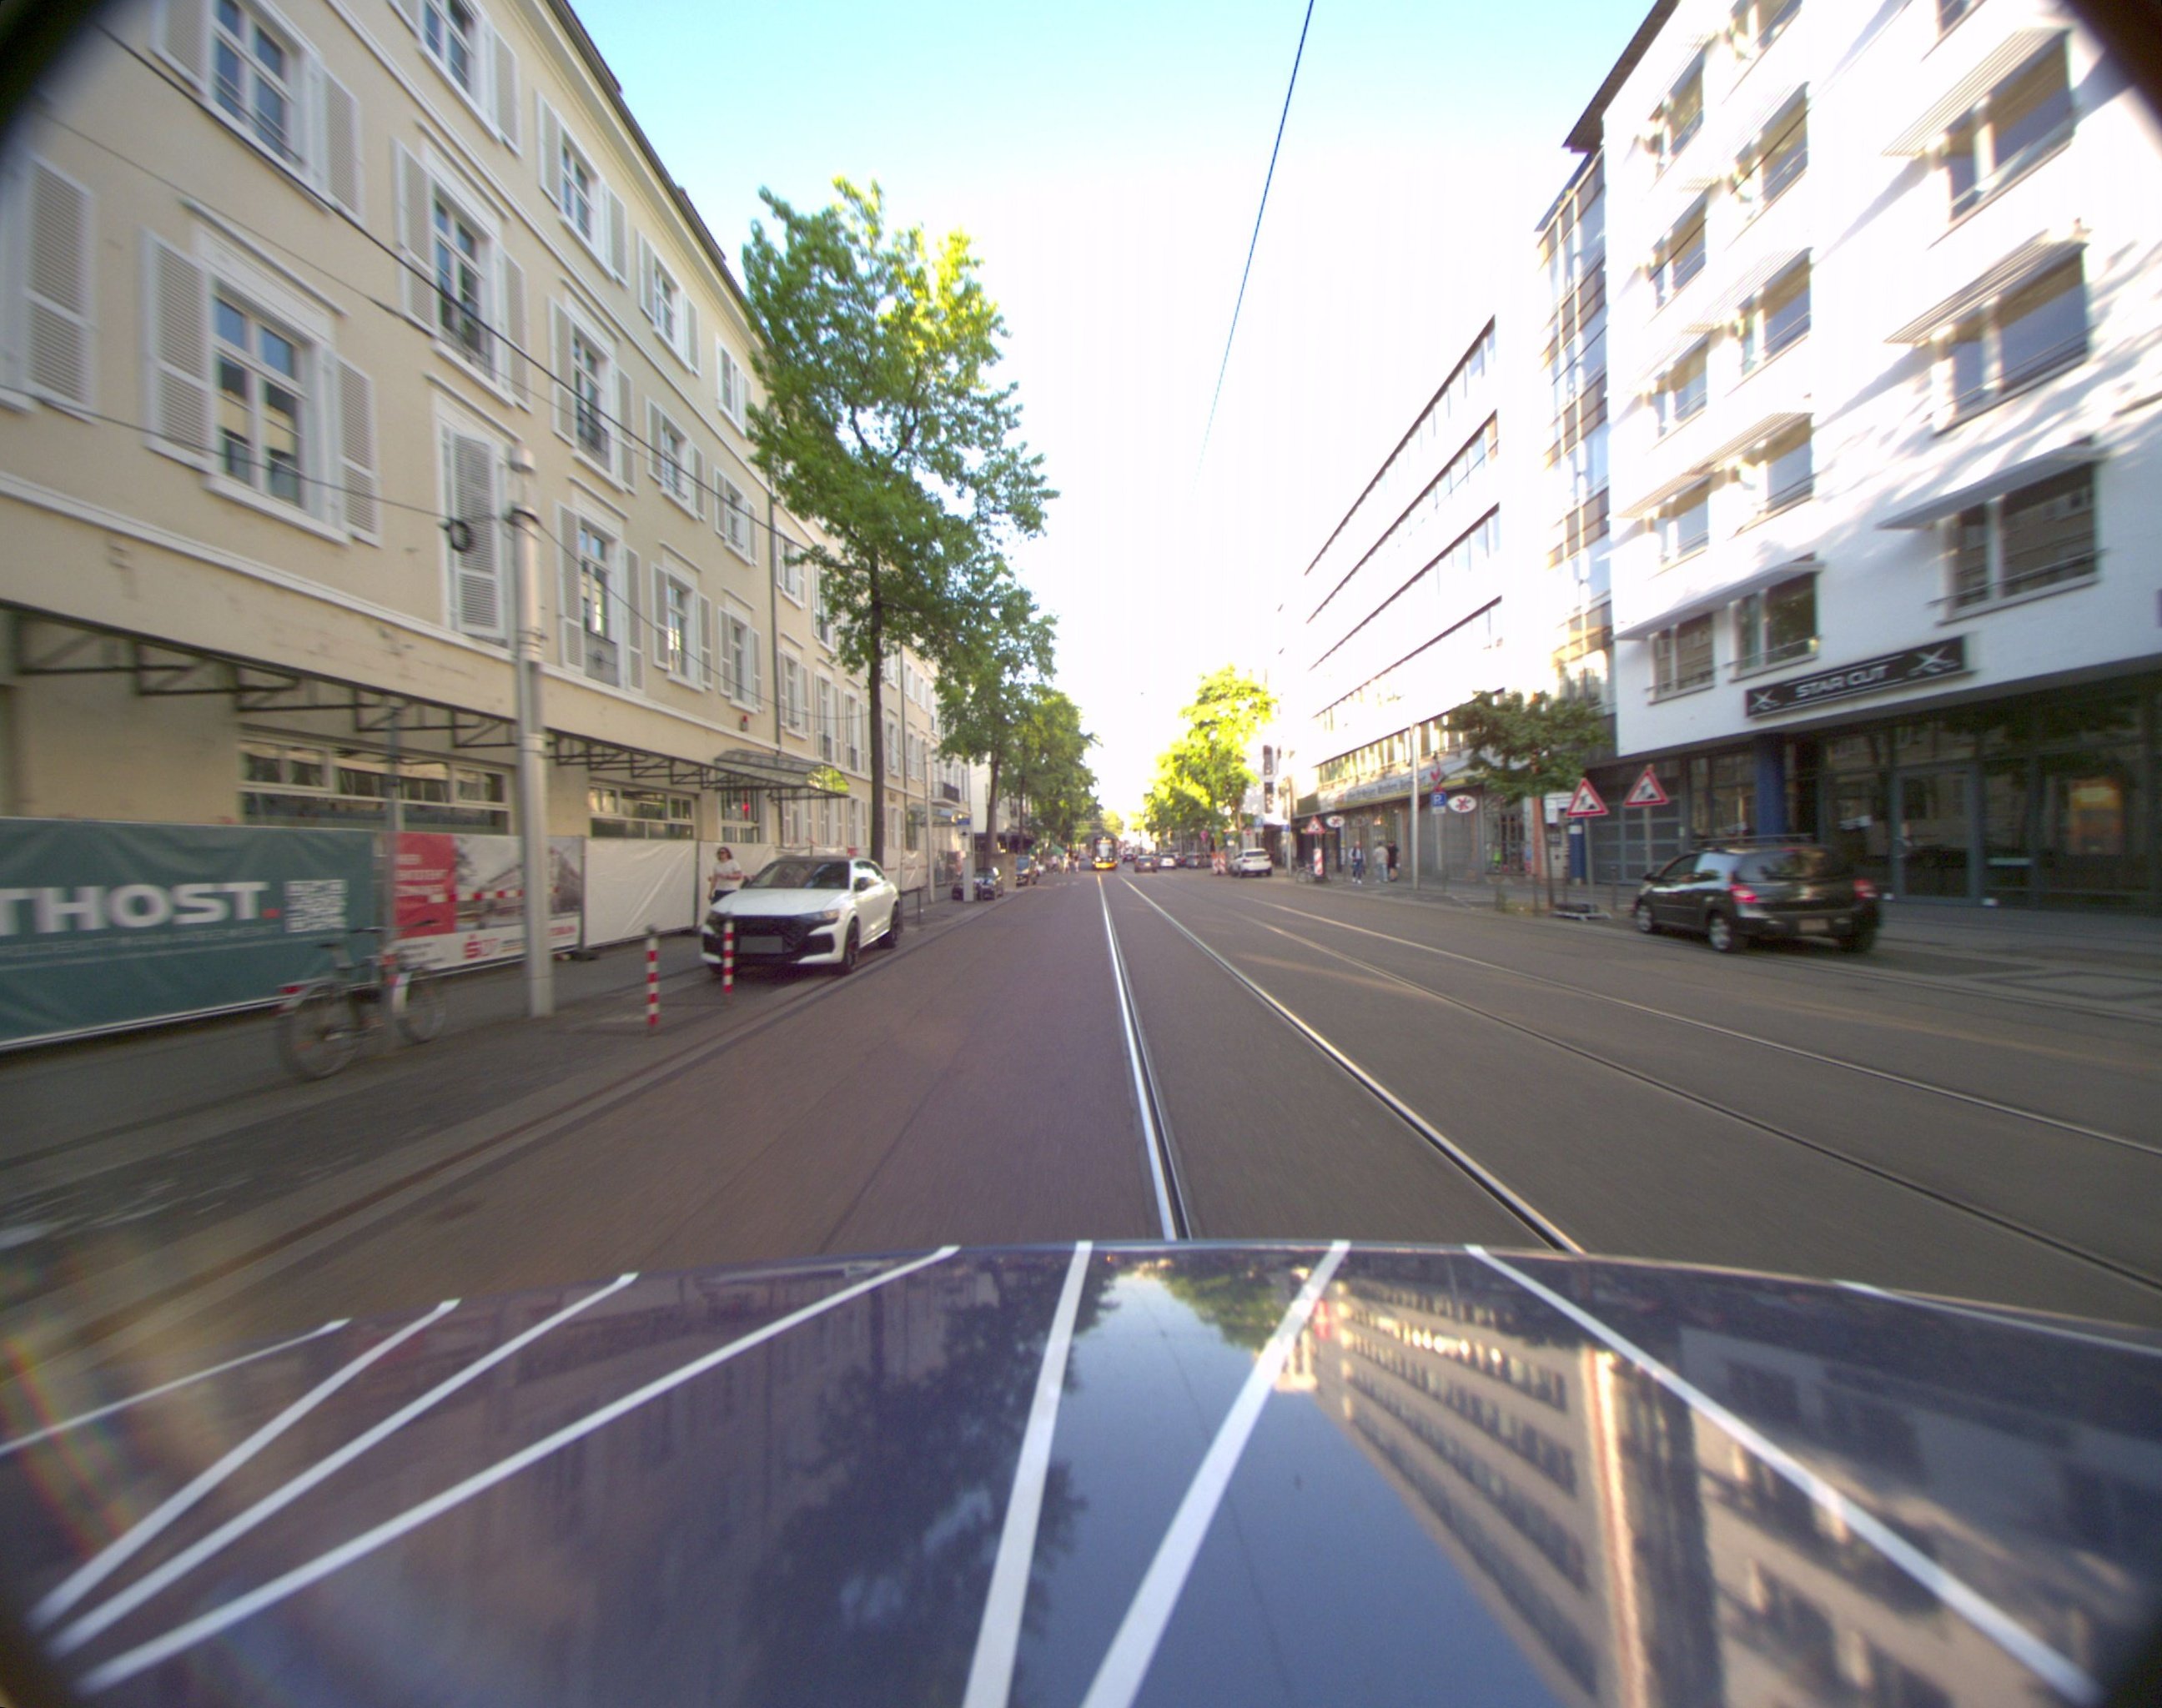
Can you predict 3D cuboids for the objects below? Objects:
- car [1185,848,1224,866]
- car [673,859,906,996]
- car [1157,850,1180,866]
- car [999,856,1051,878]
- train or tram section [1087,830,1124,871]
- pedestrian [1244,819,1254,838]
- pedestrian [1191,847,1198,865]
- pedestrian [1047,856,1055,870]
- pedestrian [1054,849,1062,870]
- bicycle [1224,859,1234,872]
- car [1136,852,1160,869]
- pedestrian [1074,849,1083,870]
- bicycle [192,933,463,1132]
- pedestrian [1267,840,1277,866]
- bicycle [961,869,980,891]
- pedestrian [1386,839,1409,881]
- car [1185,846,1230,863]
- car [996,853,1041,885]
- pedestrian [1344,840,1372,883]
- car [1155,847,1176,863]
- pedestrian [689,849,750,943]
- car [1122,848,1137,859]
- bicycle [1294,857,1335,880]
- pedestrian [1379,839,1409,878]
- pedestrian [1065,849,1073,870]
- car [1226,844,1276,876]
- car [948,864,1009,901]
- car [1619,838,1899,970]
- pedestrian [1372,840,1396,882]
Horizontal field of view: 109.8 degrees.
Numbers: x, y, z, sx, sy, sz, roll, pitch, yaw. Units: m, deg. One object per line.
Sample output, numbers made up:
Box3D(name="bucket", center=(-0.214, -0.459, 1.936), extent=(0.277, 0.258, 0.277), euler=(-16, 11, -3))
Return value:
Box3D(name="car", center=(12.290, 0.322, 75.572), extent=(3.404, 1.551, 1.786), euler=(-5, 2, -26))
Box3D(name="car", center=(-4.326, 0.969, 12.306), extent=(2.003, 1.678, 4.966), euler=(0, 1, -2))
Box3D(name="car", center=(8.721, 0.372, 76.187), extent=(1.889, 1.602, 4.200), euler=(0, 0, 1))
Box3D(name="car", center=(-4.587, 1.087, 62.515), extent=(3.937, 1.600, 1.867), euler=(-2, 2, 8))
Box3D(name="train or tram section", center=(2.585, -0.316, 82.778), extent=(3.607, 3.974, 15.716), euler=(-2, 0, 1))
Box3D(name="pedestrian", center=(14.508, -2.225, 65.701), extent=(0.725, 1.636, 0.612), euler=(-2, 1, 3))
Box3D(name="pedestrian", center=(12.062, 0.189, 80.601), extent=(0.656, 1.922, 0.723), euler=(-2, 0, 3))
Box3D(name="pedestrian", center=(-2.904, 0.889, 73.856), extent=(0.716, 1.321, 0.624), euler=(-2, 0, 2))
Box3D(name="pedestrian", center=(-2.141, 0.531, 71.292), extent=(0.598, 1.922, 0.873), euler=(-2, 0, 3))
Box3D(name="bicycle", center=(10.556, 0.797, 54.152), extent=(0.503, 0.832, 1.535), euler=(-4, 1, 7))
Box3D(name="car", center=(5.654, 0.525, 64.508), extent=(1.783, 1.399, 4.528), euler=(-2, 0, 1))
Box3D(name="pedestrian", center=(-0.217, 0.477, 71.278), extent=(0.772, 1.922, 0.873), euler=(-2, 0, 3))
Box3D(name="bicycle", center=(-5.829, 1.292, 6.061), extent=(0.419, 1.094, 1.986), euler=(0, 1, -9))
Box3D(name="pedestrian", center=(14.930, -0.085, 59.385), extent=(0.616, 2.002, 0.592), euler=(-2, 1, 0))
Box3D(name="bicycle", center=(-5.551, 1.299, 38.172), extent=(0.656, 1.064, 1.671), euler=(0, 0, -18))
Box3D(name="pedestrian", center=(13.329, 0.253, 32.002), extent=(0.628, 1.703, 0.808), euler=(-3, 1, 5))
Box3D(name="car", center=(13.084, 0.093, 78.746), extent=(4.320, 1.404, 1.576), euler=(-5, 2, -17))
Box3D(name="car", center=(-3.606, 0.820, 44.519), extent=(1.956, 1.782, 4.317), euler=(0, 1, 4))
Box3D(name="pedestrian", center=(11.745, 0.307, 32.213), extent=(0.853, 1.756, 0.832), euler=(-2, 1, -1))
Box3D(name="car", center=(9.675, 0.075, 87.447), extent=(2.039, 1.796, 4.200), euler=(-1, 0, 1))
Box3D(name="pedestrian", center=(-7.434, 0.843, 15.679), extent=(0.714, 1.876, 1.053), euler=(0, 1, 1))
Box3D(name="car", center=(7.607, -0.048, 119.450), extent=(2.039, 1.677, 4.200), euler=(-2, 0, 1))
Box3D(name="bicycle", center=(11.198, 0.698, 36.462), extent=(1.748, 0.986, 0.478), euler=(-5, 0, 8))
Box3D(name="pedestrian", center=(14.051, 0.205, 34.150), extent=(0.834, 1.685, 1.038), euler=(-4, 1, 1))
Box3D(name="pedestrian", center=(-1.151, 0.503, 71.404), extent=(0.672, 1.922, 0.873), euler=(-2, 0, 3))
Box3D(name="car", center=(10.640, 0.358, 47.905), extent=(1.998, 1.744, 4.744), euler=(-4, 0, 1))
Box3D(name="car", center=(-4.096, 1.091, 30.947), extent=(1.798, 1.304, 4.329), euler=(0, 0, 1))
Box3D(name="car", center=(9.829, 0.630, 11.423), extent=(1.632, 1.606, 3.712), euler=(-4, 0, 16))
Box3D(name="pedestrian", center=(12.656, 0.288, 31.727), extent=(0.643, 1.703, 0.829), euler=(-3, 1, 5))
